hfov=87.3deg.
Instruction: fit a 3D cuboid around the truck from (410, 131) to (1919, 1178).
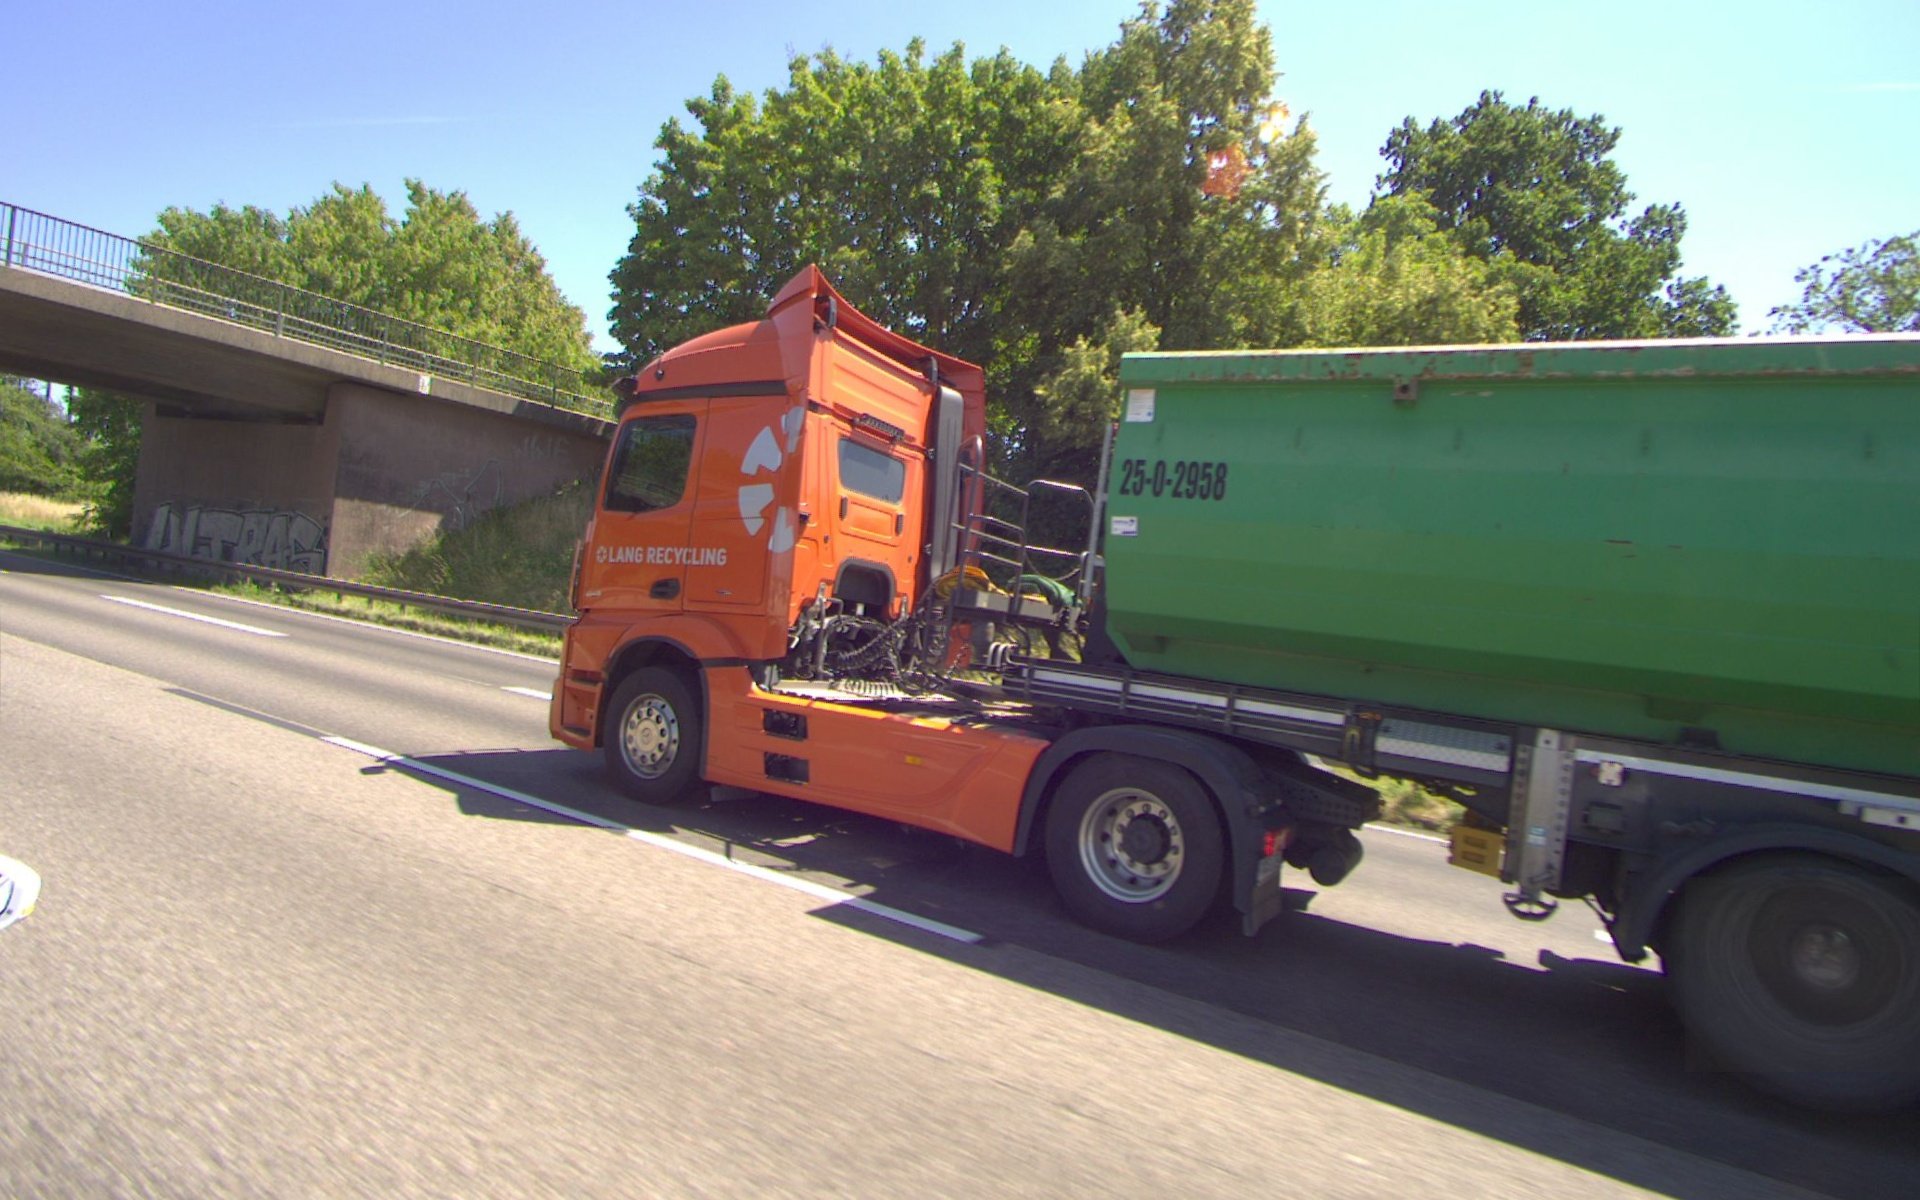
[{"bbox_3d":[1.566,-0.003,6.428,12.268,3.842,2.687,6,-2,31],"label":"truck"}]
